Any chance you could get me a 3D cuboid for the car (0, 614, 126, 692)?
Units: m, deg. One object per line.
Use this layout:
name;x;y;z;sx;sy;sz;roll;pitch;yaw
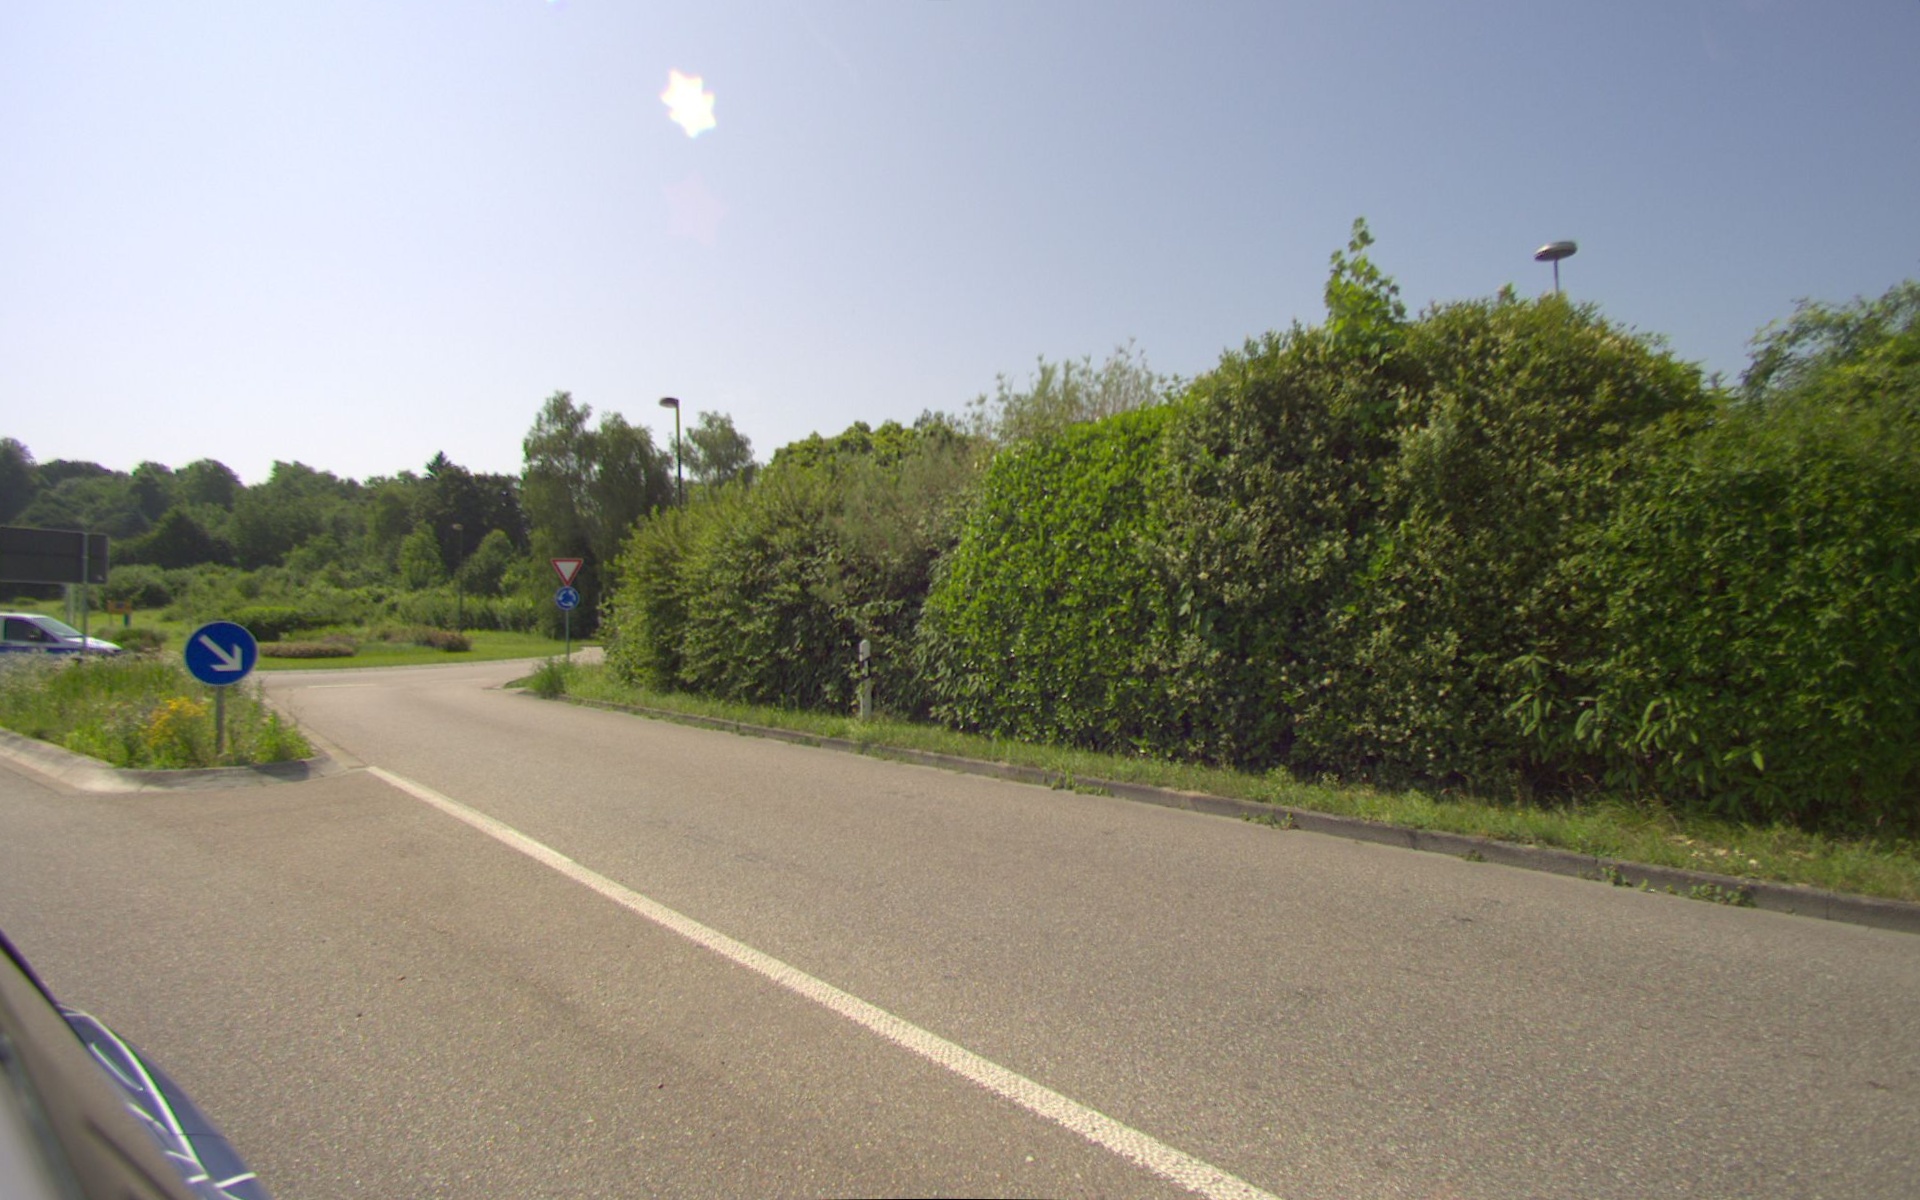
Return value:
car;-25.502;1.417;26.679;5.140;1.952;1.866;-1;0;-29
